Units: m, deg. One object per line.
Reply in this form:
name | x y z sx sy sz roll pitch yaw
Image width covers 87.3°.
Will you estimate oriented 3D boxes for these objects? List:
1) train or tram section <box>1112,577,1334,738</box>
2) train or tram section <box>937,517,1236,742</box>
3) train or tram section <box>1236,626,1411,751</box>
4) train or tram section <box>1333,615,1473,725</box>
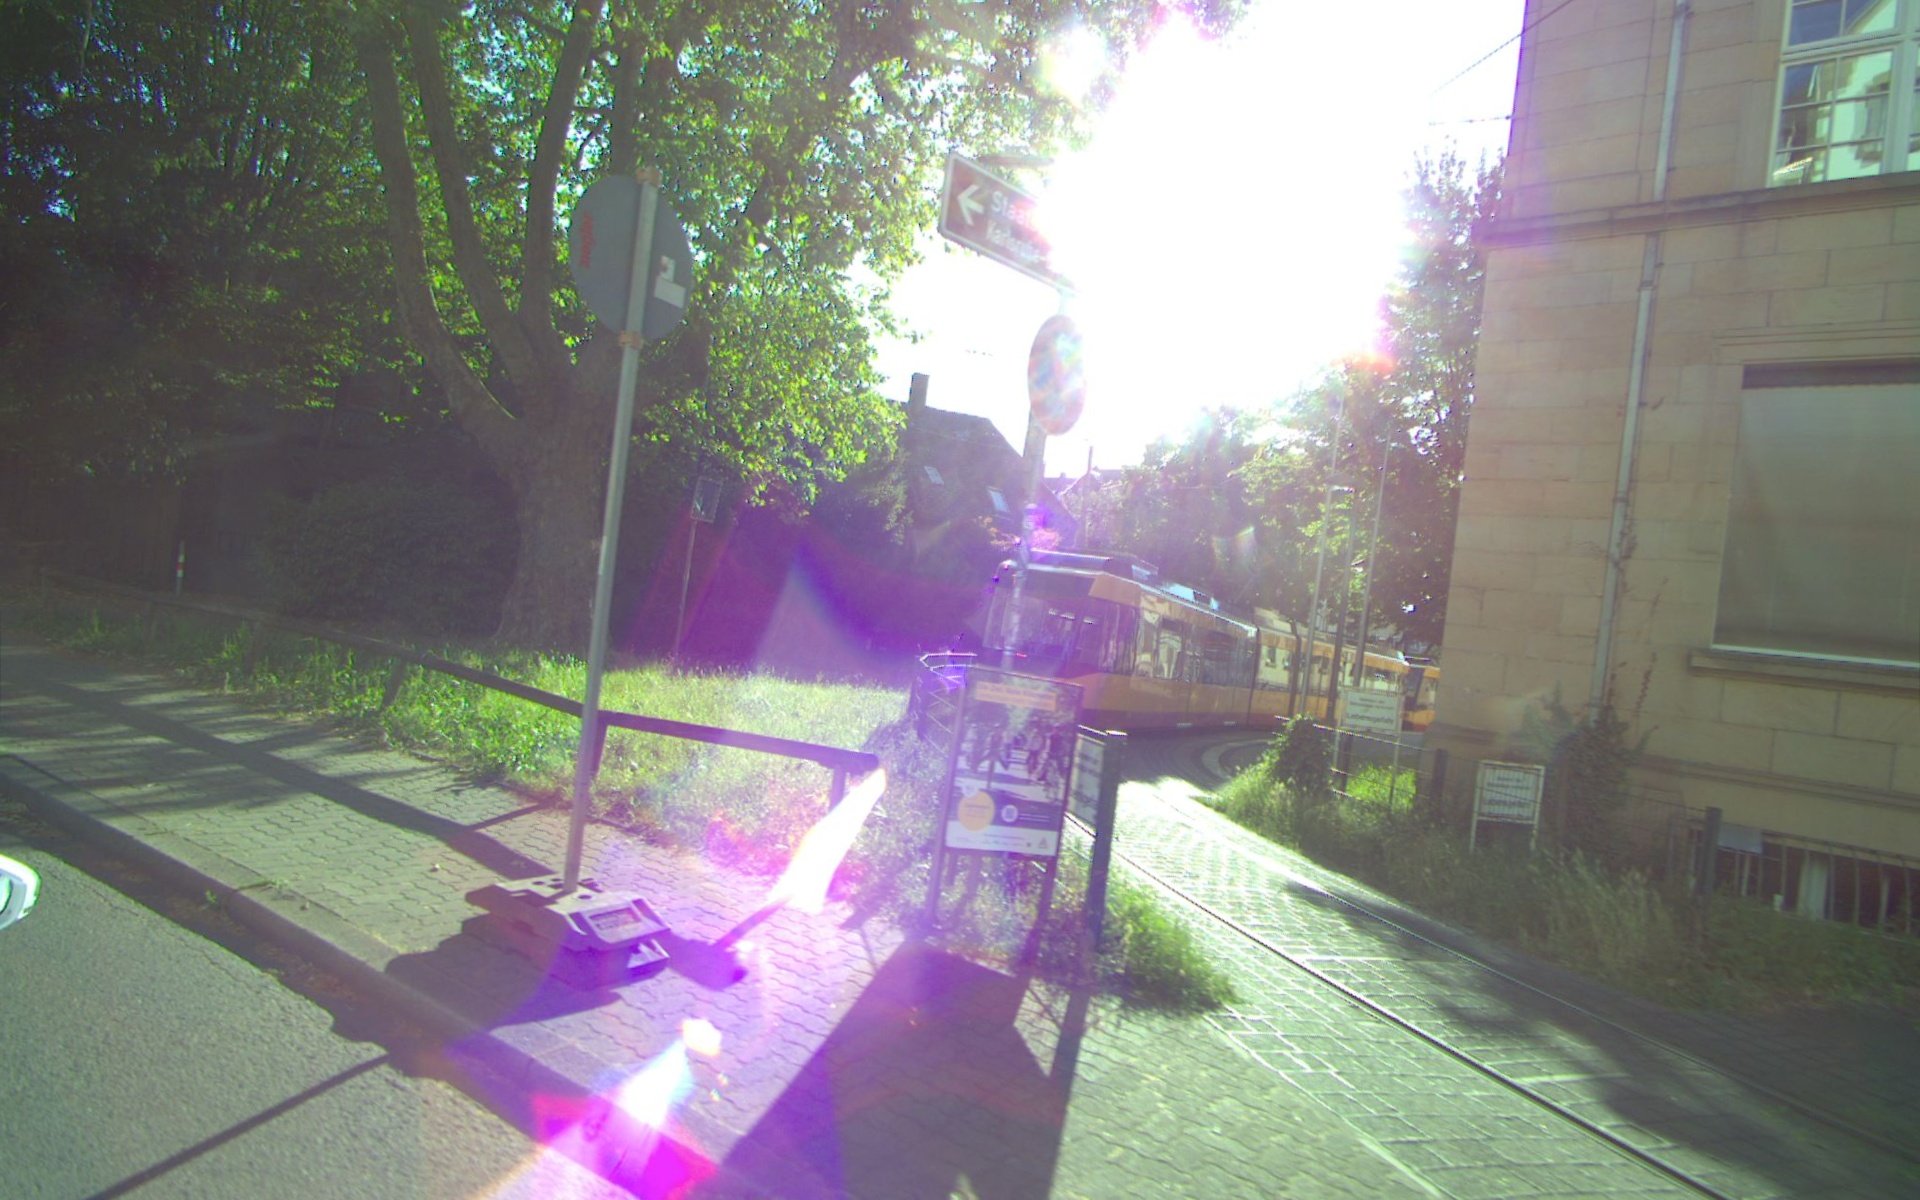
train or tram section | 7.905 1.873 28.928 2.755 3.557 9.252 7 -3 36
train or tram section | 3.184 0.966 21.217 2.750 3.557 9.268 7 -3 28
train or tram section | 13.302 3.347 36.127 2.757 3.557 9.243 6 -4 39
train or tram section | 19.353 3.174 43.463 2.807 3.640 9.839 6 -4 39
